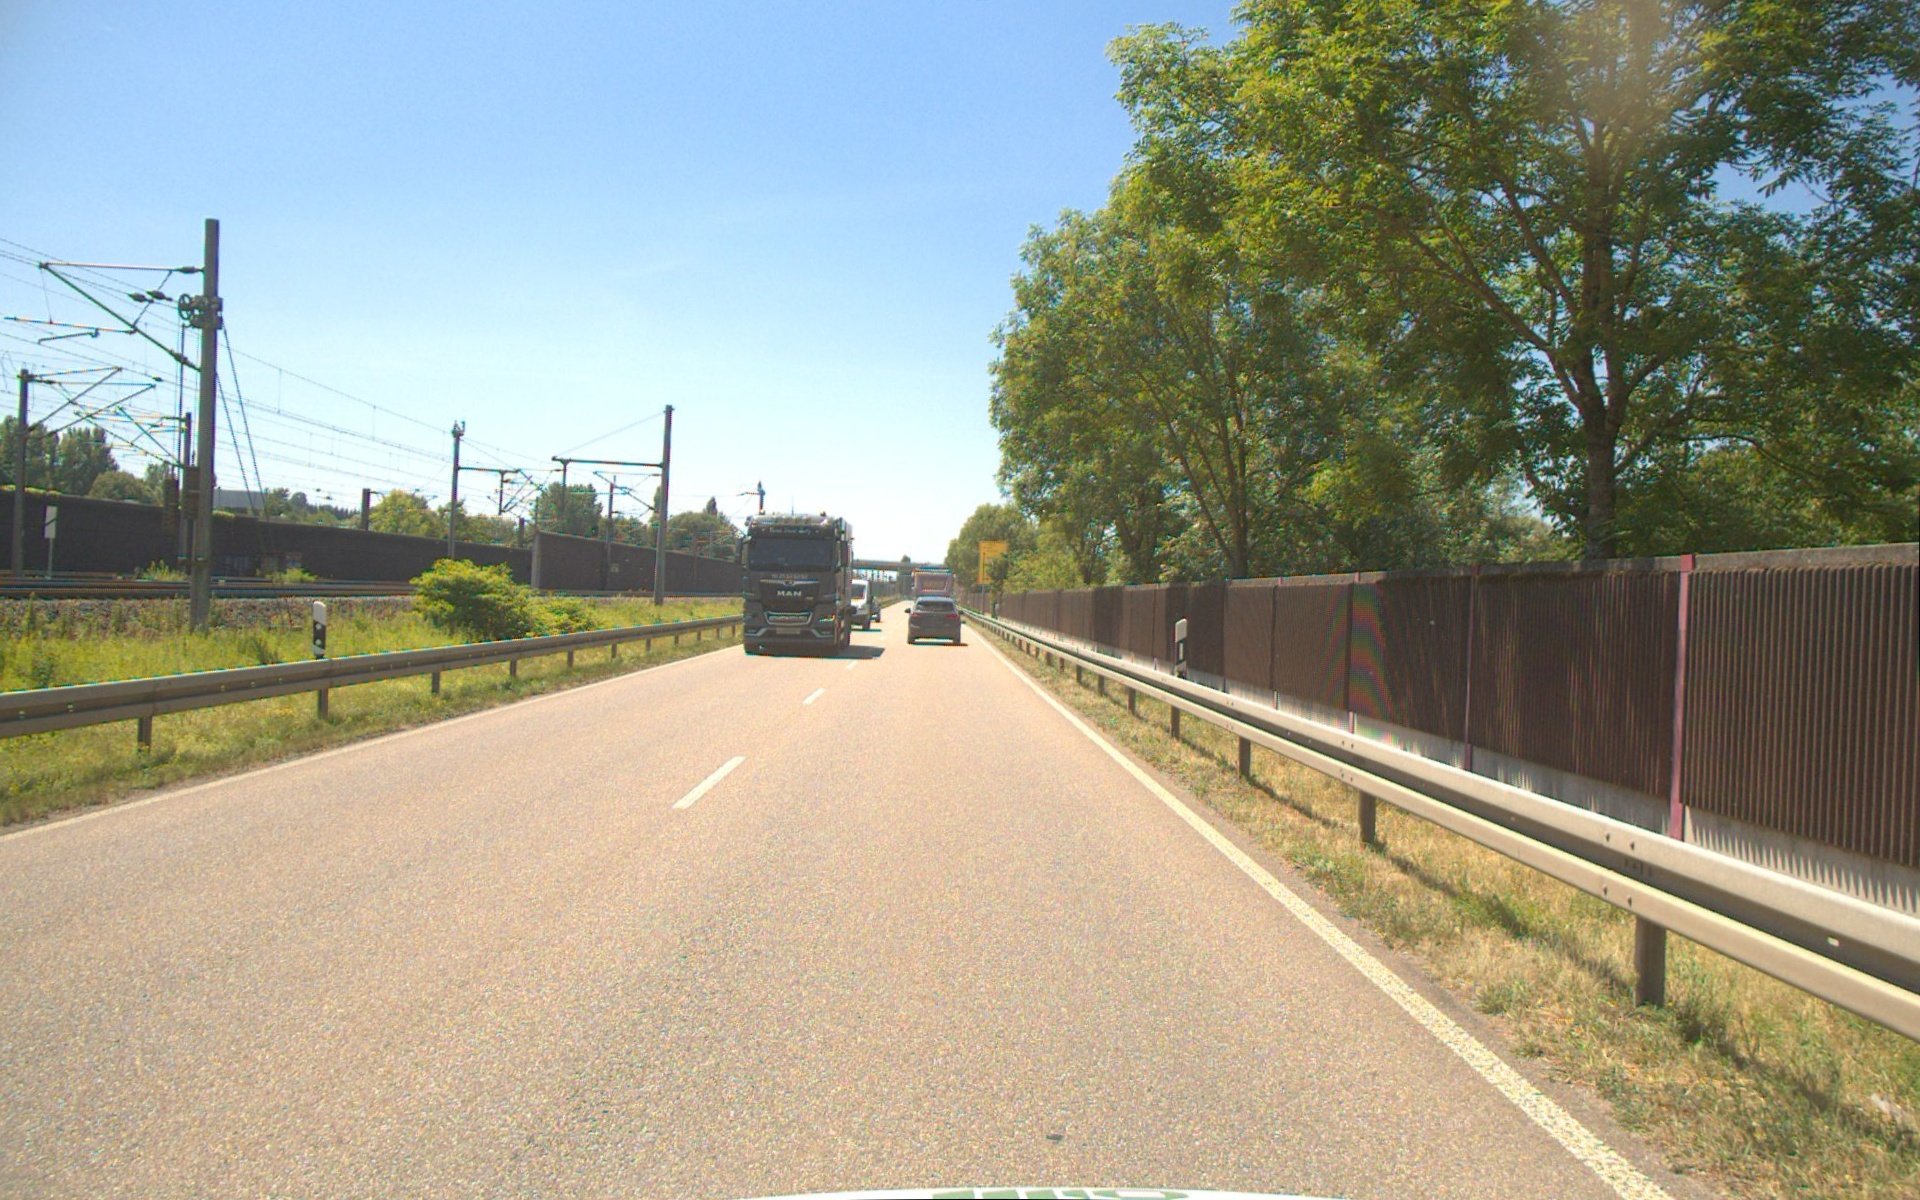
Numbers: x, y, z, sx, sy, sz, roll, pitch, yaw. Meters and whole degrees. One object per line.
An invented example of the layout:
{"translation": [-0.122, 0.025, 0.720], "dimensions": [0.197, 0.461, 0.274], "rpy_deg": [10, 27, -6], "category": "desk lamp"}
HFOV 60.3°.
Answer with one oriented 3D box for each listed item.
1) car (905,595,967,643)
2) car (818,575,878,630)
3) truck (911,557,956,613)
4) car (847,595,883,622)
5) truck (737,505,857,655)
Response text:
{"translation": [-0.856, 0.609, 56.160], "dimensions": [1.954, 1.534, 3.998], "rpy_deg": [1, 0, -3], "category": "car"}
{"translation": [-5.019, 0.087, 74.920], "dimensions": [2.215, 2.327, 6.235], "rpy_deg": [2, 0, 0], "category": "car"}
{"translation": [-1.762, -0.974, 109.930], "dimensions": [2.714, 3.485, 10.817], "rpy_deg": [1, 0, -1], "category": "truck"}
{"translation": [-5.706, 0.497, 99.677], "dimensions": [1.935, 1.534, 4.162], "rpy_deg": [2, 0, -1], "category": "car"}
{"translation": [-4.438, -0.549, 47.057], "dimensions": [2.604, 3.690, 10.973], "rpy_deg": [2, 0, -2], "category": "truck"}
